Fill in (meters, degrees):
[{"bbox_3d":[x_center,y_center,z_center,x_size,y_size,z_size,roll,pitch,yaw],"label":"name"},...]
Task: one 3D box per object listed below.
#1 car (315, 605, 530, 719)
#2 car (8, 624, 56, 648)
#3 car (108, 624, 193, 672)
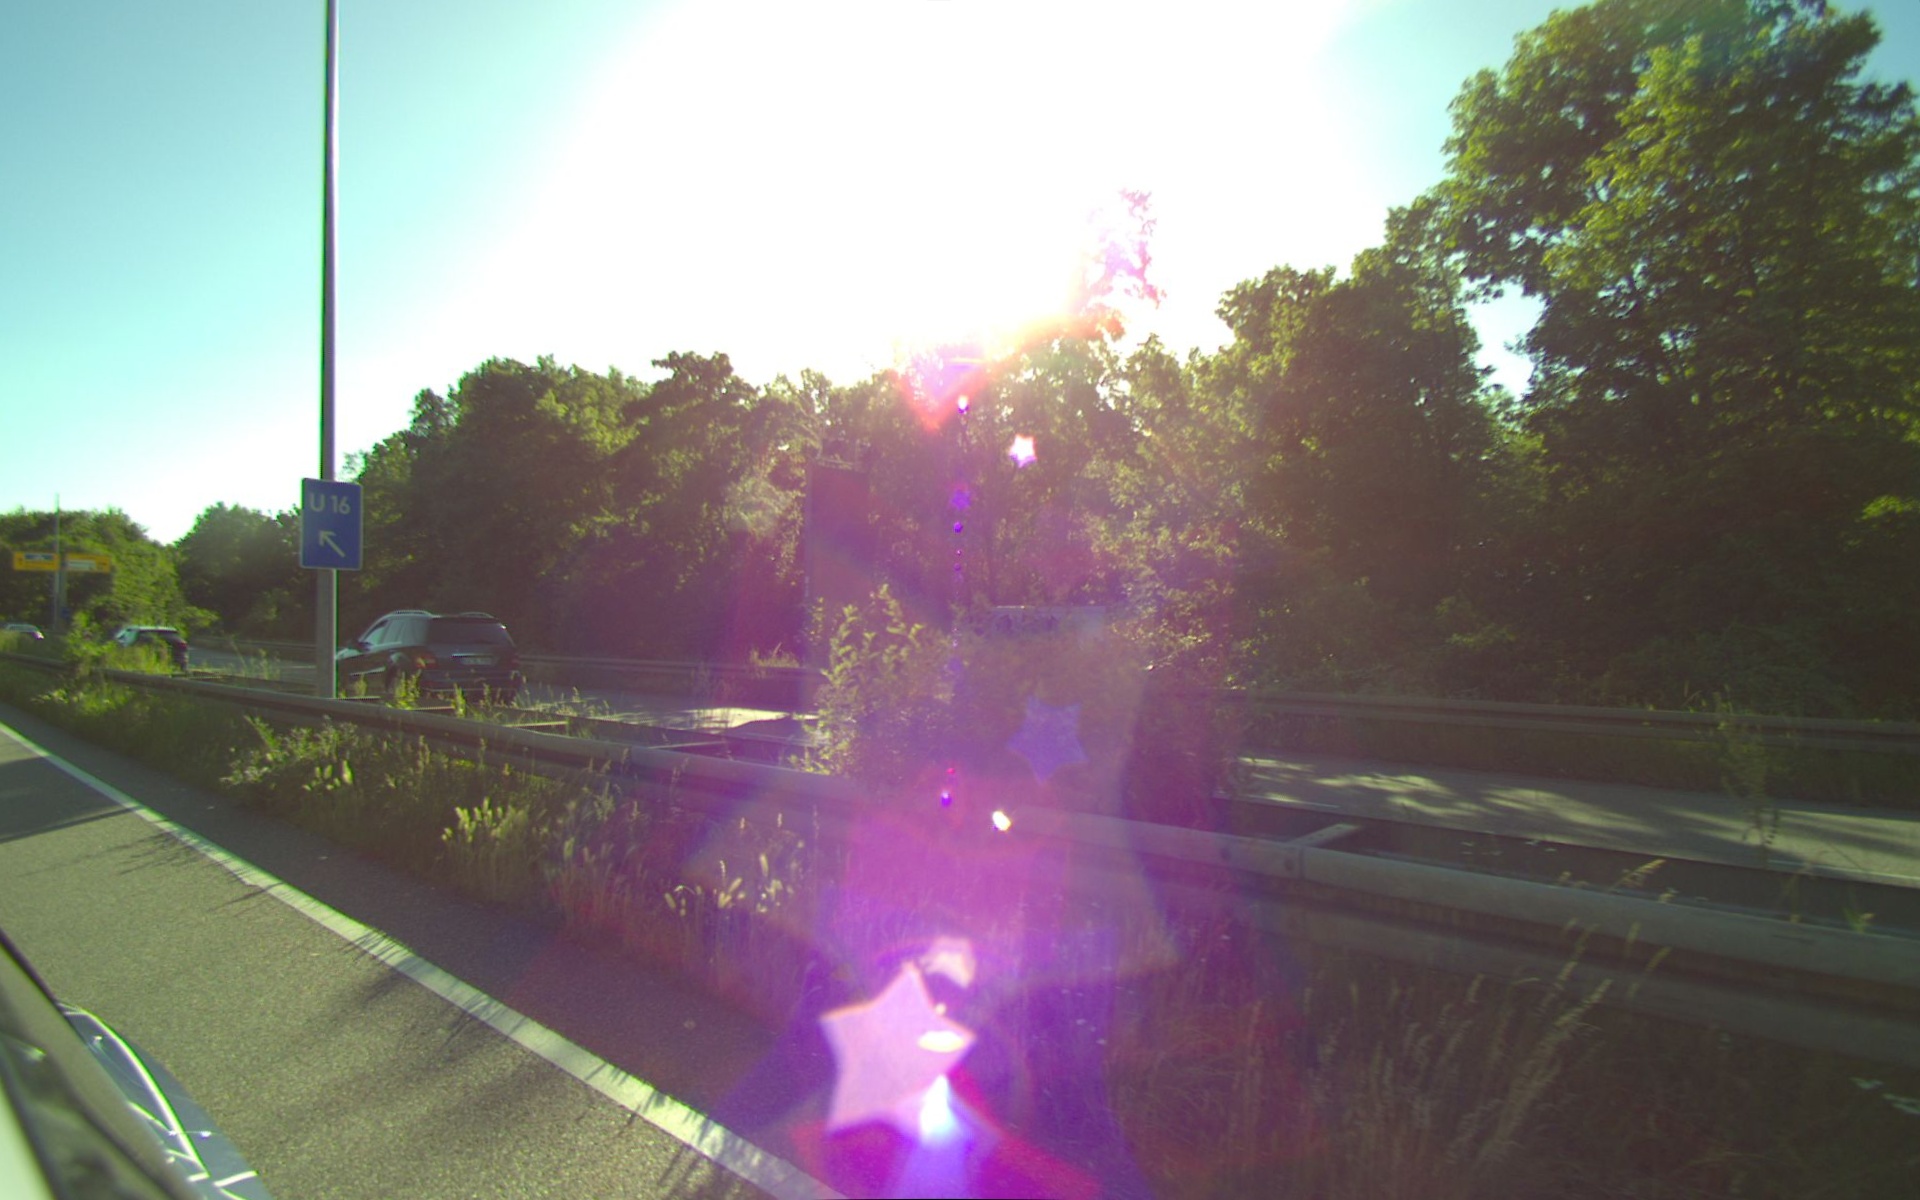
[{"bbox_3d":[-9.685,1.029,18.070,4.709,1.771,1.822,-1,-2,41],"label":"car"},{"bbox_3d":[-55.958,2.151,61.021,4.552,1.414,1.761,-1,-2,43],"label":"car"},{"bbox_3d":[-27.966,1.616,34.913,4.608,1.542,1.600,-1,-2,43],"label":"car"}]
